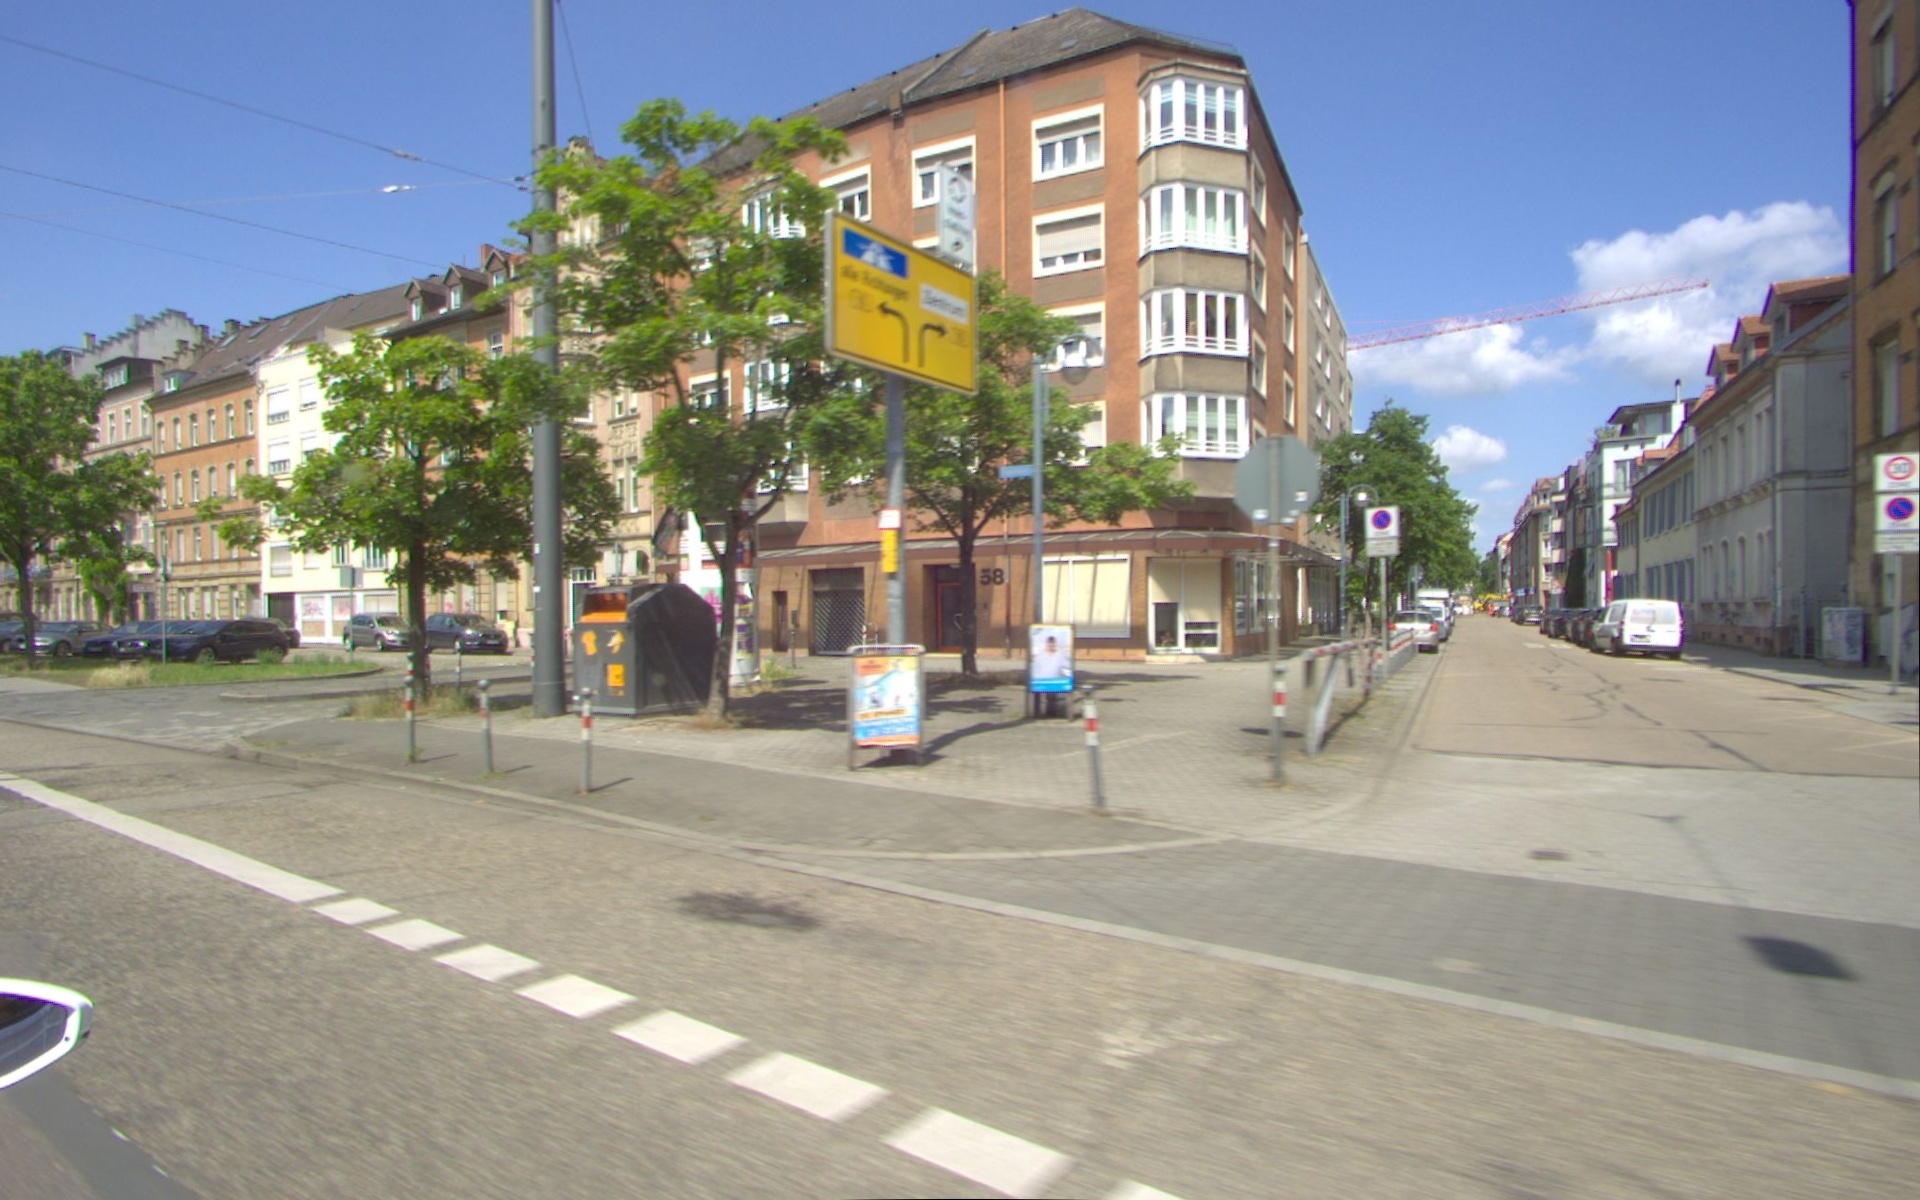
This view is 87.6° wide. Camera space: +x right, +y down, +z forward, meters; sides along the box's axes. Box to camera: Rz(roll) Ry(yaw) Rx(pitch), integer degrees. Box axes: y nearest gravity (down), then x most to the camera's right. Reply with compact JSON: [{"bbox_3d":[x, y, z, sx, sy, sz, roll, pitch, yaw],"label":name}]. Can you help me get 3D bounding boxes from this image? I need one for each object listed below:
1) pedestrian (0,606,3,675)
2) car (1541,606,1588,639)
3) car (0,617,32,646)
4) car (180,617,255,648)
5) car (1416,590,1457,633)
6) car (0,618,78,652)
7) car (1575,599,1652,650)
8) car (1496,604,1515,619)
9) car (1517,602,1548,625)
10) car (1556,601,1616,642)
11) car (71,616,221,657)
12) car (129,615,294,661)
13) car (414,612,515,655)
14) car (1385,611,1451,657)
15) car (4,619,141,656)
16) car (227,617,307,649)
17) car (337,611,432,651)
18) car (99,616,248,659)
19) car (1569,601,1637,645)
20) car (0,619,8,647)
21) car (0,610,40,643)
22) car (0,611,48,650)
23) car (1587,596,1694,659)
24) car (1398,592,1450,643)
[{"bbox_3d":[-24.670,1.024,25.124,1.030,1.726,0.699,-1,-1,32],"label":"pedestrian"},{"bbox_3d":[32.772,1.259,54.382,1.969,1.717,3.985,-1,-2,28],"label":"car"},{"bbox_3d":[-46.959,1.508,47.371,1.816,1.398,4.696,0,-2,-1],"label":"car"},{"bbox_3d":[-38.283,1.689,51.612,4.168,1.510,1.828,-1,-2,34],"label":"car"},{"bbox_3d":[27.501,0.718,57.703,1.839,2.387,4.790,-1,-2,29],"label":"car"},{"bbox_3d":[-40.616,1.494,43.024,1.816,1.398,4.271,0,-2,-3],"label":"car"},{"bbox_3d":[23.966,0.932,36.838,1.969,1.717,3.985,-2,-2,28],"label":"car"},{"bbox_3d":[66.156,1.376,121.530,1.969,1.717,3.985,-1,-2,28],"label":"car"},{"bbox_3d":[44.745,1.094,78.292,1.969,1.717,4.218,-1,-2,28],"label":"car"},{"bbox_3d":[27.838,0.984,44.617,1.969,1.717,3.985,-1,-2,28],"label":"car"},{"bbox_3d":[-29.208,1.326,36.105,1.923,1.398,4.002,0,-2,5],"label":"car"},{"bbox_3d":[-23.890,1.219,32.163,1.924,1.371,4.000,0,-2,11],"label":"car"},{"bbox_3d":[-19.949,1.342,40.255,4.437,1.636,1.827,-2,-2,36],"label":"car"},{"bbox_3d":[16.295,1.200,35.516,1.839,1.517,3.984,-1,-2,29],"label":"car"},{"bbox_3d":[-35.214,1.477,39.904,1.816,1.398,4.271,0,-2,-3],"label":"car"},{"bbox_3d":[-34.026,1.610,49.121,4.168,1.510,1.828,-1,-2,34],"label":"car"},{"bbox_3d":[-25.198,1.372,43.821,4.433,1.636,1.828,-1,-2,34],"label":"car"},{"bbox_3d":[-26.816,1.281,34.317,1.923,1.398,4.002,0,-2,0],"label":"car"},{"bbox_3d":[26.054,0.959,40.690,1.969,1.717,3.985,-1,-2,28],"label":"car"},{"bbox_3d":[-49.624,1.620,49.226,1.816,1.423,4.087,0,-2,-2],"label":"car"},{"bbox_3d":[-66.240,1.896,69.649,5.319,2.206,2.106,-1,-2,34],"label":"car"},{"bbox_3d":[-43.905,1.365,45.094,1.816,1.763,4.368,0,-2,-3],"label":"car"},{"bbox_3d":[21.206,0.832,31.380,1.907,1.847,3.990,-1,-1,22],"label":"car"},{"bbox_3d":[21.494,0.848,46.303,1.839,2.213,4.790,-1,-2,29],"label":"car"}]
